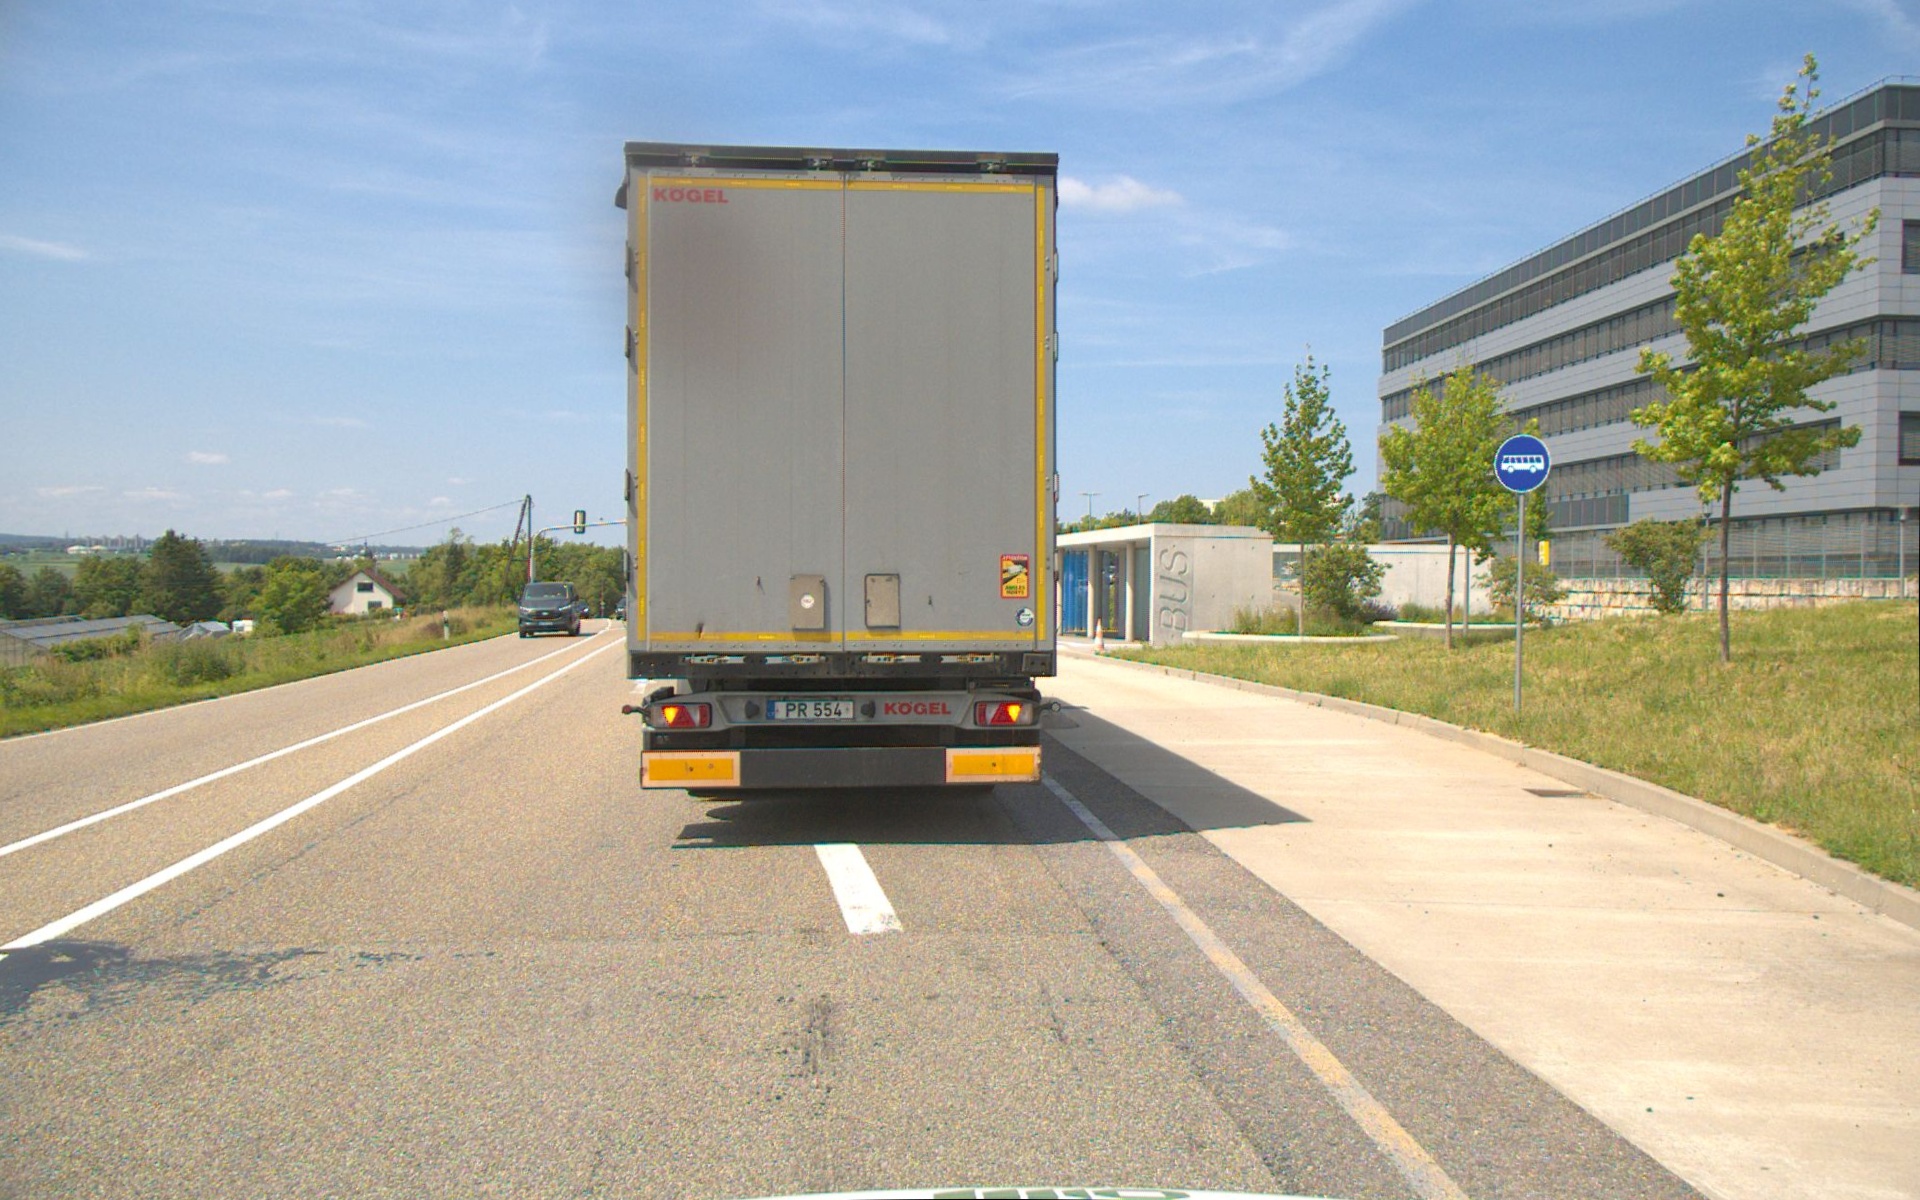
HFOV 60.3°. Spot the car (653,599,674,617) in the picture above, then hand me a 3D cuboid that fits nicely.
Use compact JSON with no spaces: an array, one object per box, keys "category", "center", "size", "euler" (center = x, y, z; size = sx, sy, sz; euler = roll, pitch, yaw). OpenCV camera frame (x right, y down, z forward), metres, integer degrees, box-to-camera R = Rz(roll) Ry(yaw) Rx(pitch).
[{"category":"car","center":[-35.955,1.000,200.748],"size":[2.130,2.049,4.519],"euler":[-2,0,-7]}]

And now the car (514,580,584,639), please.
[{"category":"car","center":[-15.090,0.322,60.980],"size":[1.957,2.013,5.268],"euler":[-2,1,-9]}]

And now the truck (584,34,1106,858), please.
[{"category":"truck","center":[-1.019,-0.851,13.561],"size":[2.851,4.487,8.850],"euler":[0,0,-5]}]

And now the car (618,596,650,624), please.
[{"category":"car","center":[-22.808,0.703,115.994],"size":[1.957,1.847,4.287],"euler":[-2,1,-9]}]
